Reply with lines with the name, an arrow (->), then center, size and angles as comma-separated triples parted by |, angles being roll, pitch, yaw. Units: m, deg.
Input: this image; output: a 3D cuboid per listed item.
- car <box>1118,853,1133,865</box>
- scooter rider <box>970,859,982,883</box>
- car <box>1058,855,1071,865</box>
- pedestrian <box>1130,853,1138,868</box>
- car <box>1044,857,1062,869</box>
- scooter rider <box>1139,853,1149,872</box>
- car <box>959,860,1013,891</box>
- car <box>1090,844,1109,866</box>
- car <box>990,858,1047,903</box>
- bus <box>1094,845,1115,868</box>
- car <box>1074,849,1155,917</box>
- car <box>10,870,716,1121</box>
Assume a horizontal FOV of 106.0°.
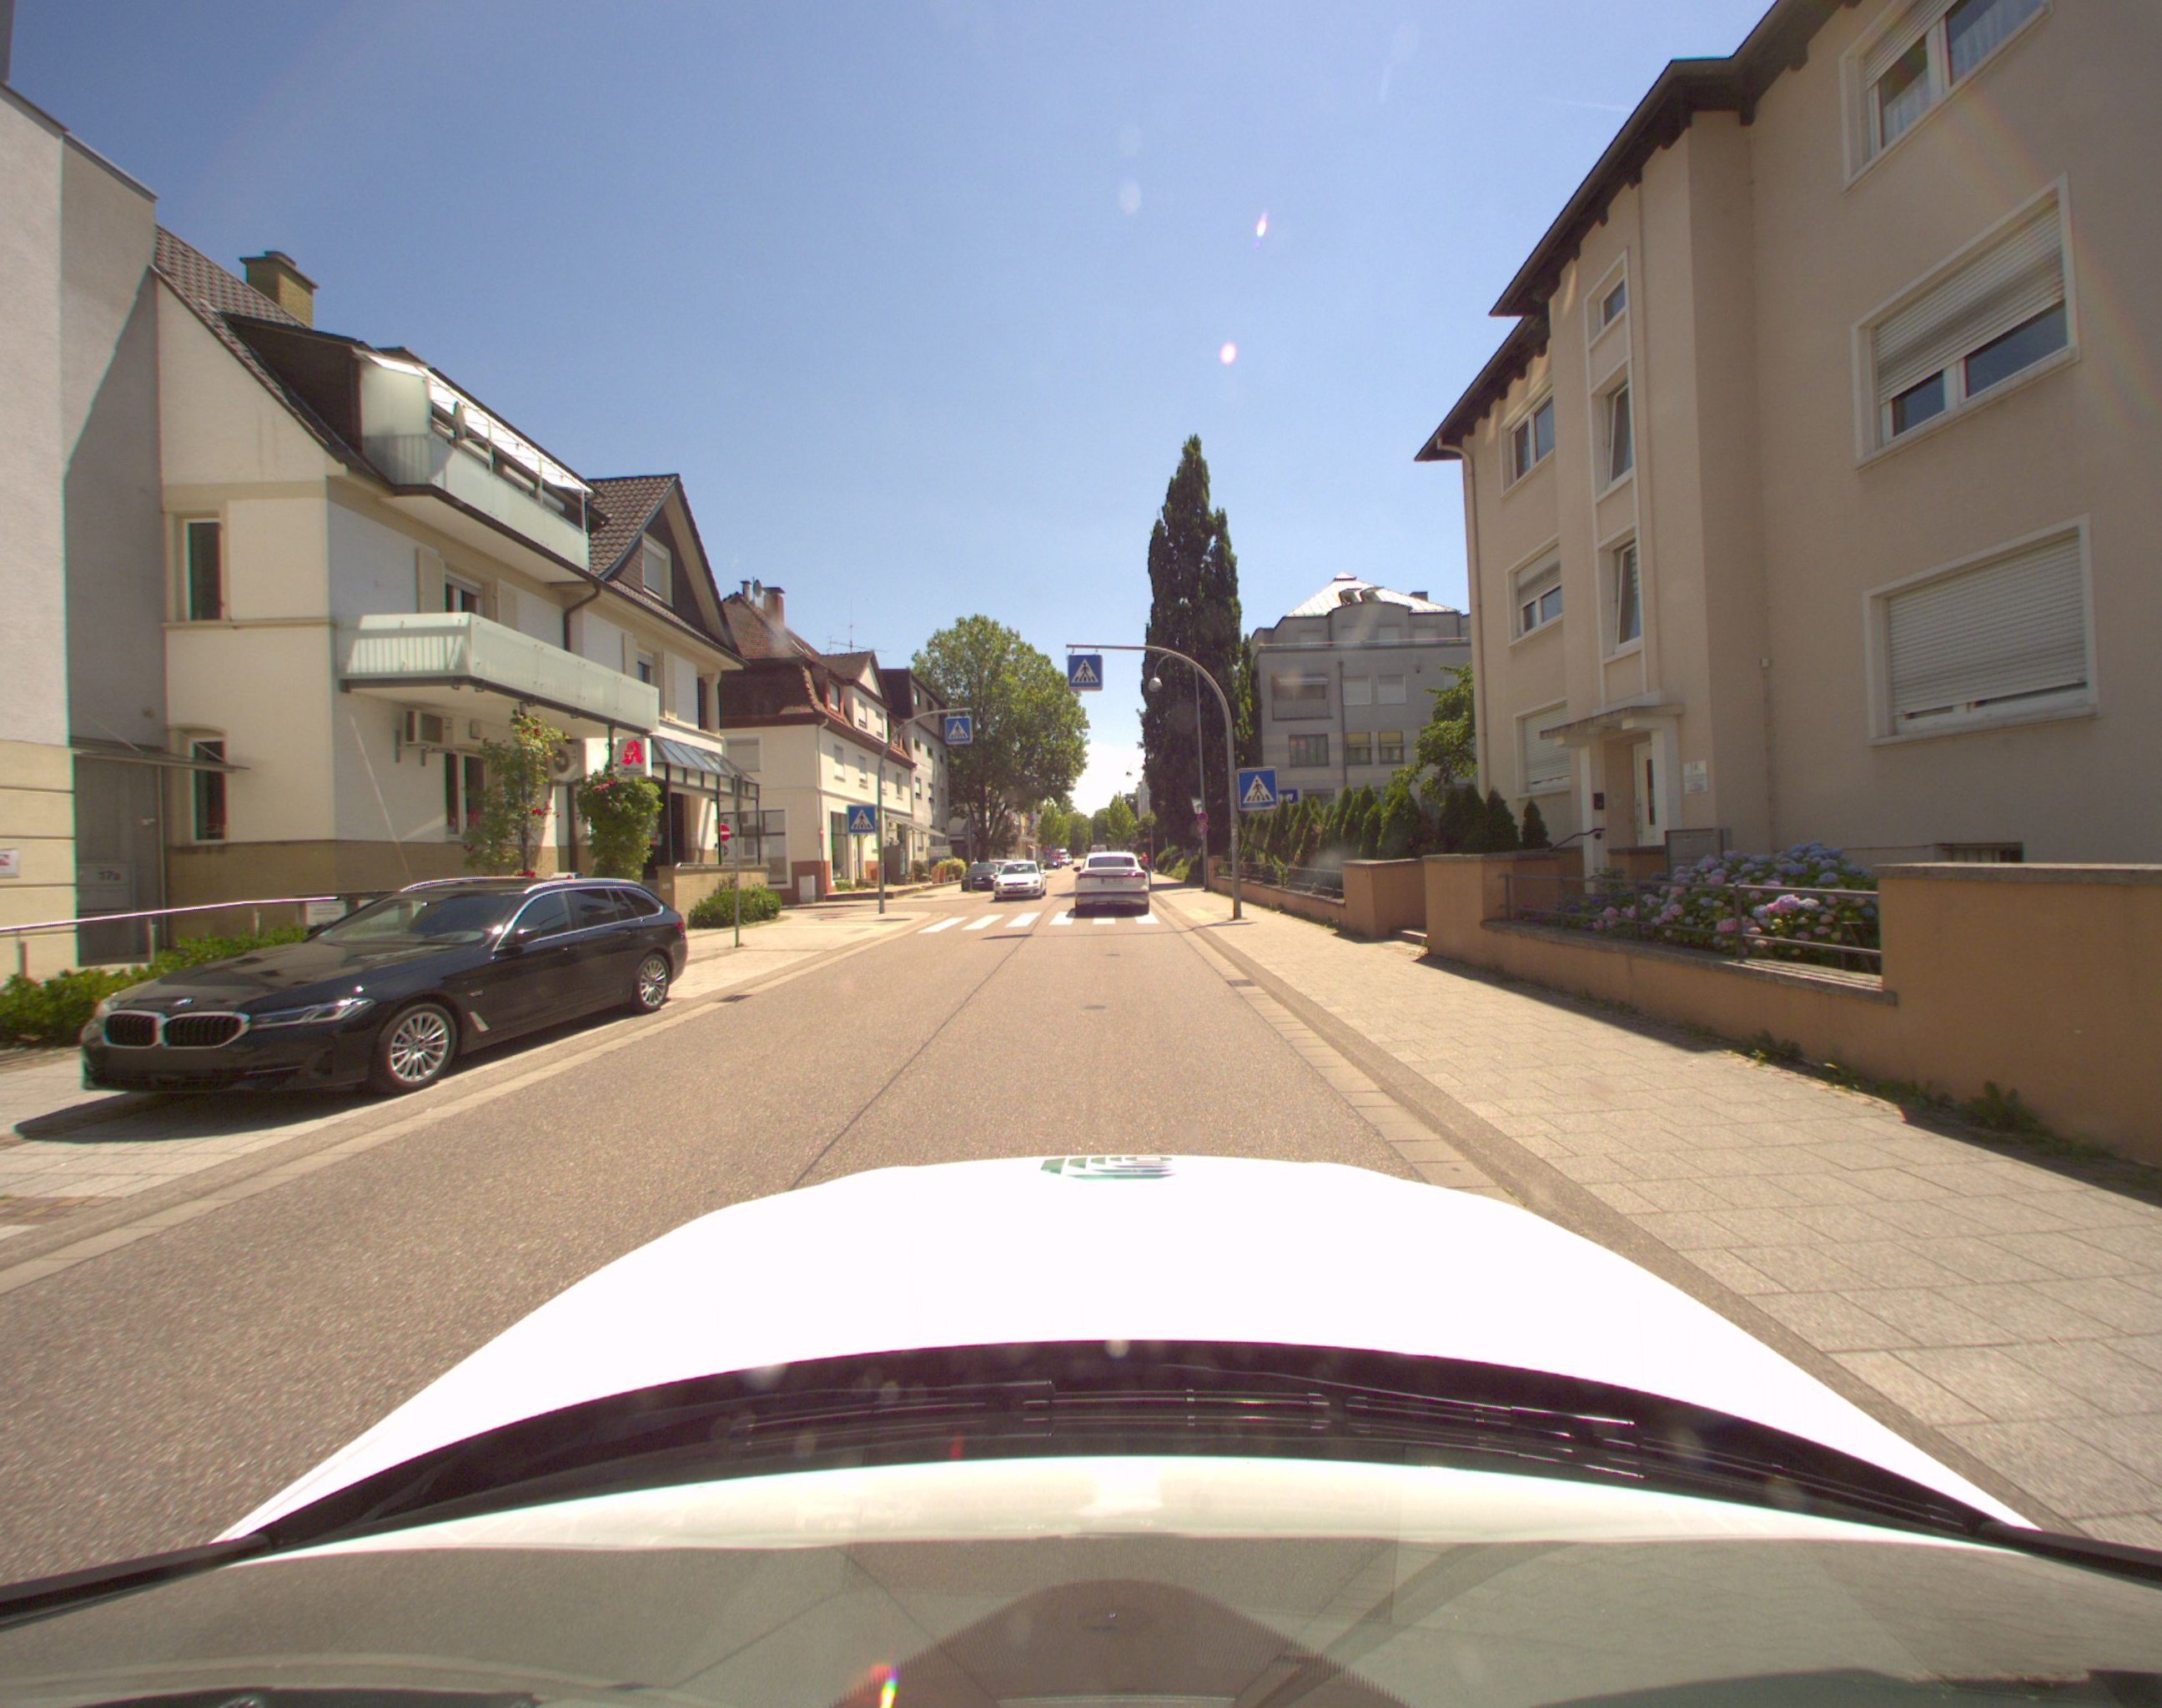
car -> 5.877, 0.612, 107.202 | 1.888, 1.438, 4.548 | -2, 0, 3
scooter rider -> -6.941, 1.128, 53.877 | 0.586, 1.575, 0.878 | 0, 0, 2
car -> -2.646, 0.931, 129.927 | 1.745, 1.618, 4.403 | 0, 0, 3
pedestrian -> 5.901, 0.701, 90.048 | 0.698, 1.626, 0.783 | -5, -1, 0
car -> -3.434, 1.081, 100.140 | 1.889, 1.417, 5.048 | 0, 0, 1
scooter rider -> 5.311, 0.740, 68.676 | 0.714, 1.548, 0.770 | -3, 0, -1
car -> -4.762, 1.030, 41.375 | 1.935, 1.373, 5.100 | -2, 0, 2
car -> 2.146, 0.161, 92.684 | 2.148, 2.442, 5.285 | 0, 0, 2
car -> -2.313, 0.972, 31.213 | 1.802, 1.482, 3.868 | -4, 0, 0
bus -> 3.469, 0.338, 118.441 | 2.649, 3.221, 7.309 | 0, 0, 4
car -> 0.833, 0.720, 22.043 | 1.987, 1.633, 4.000 | -1, 0, 0
car -> -5.623, 0.924, 7.640 | 1.909, 1.452, 5.151 | 1, 0, 2
